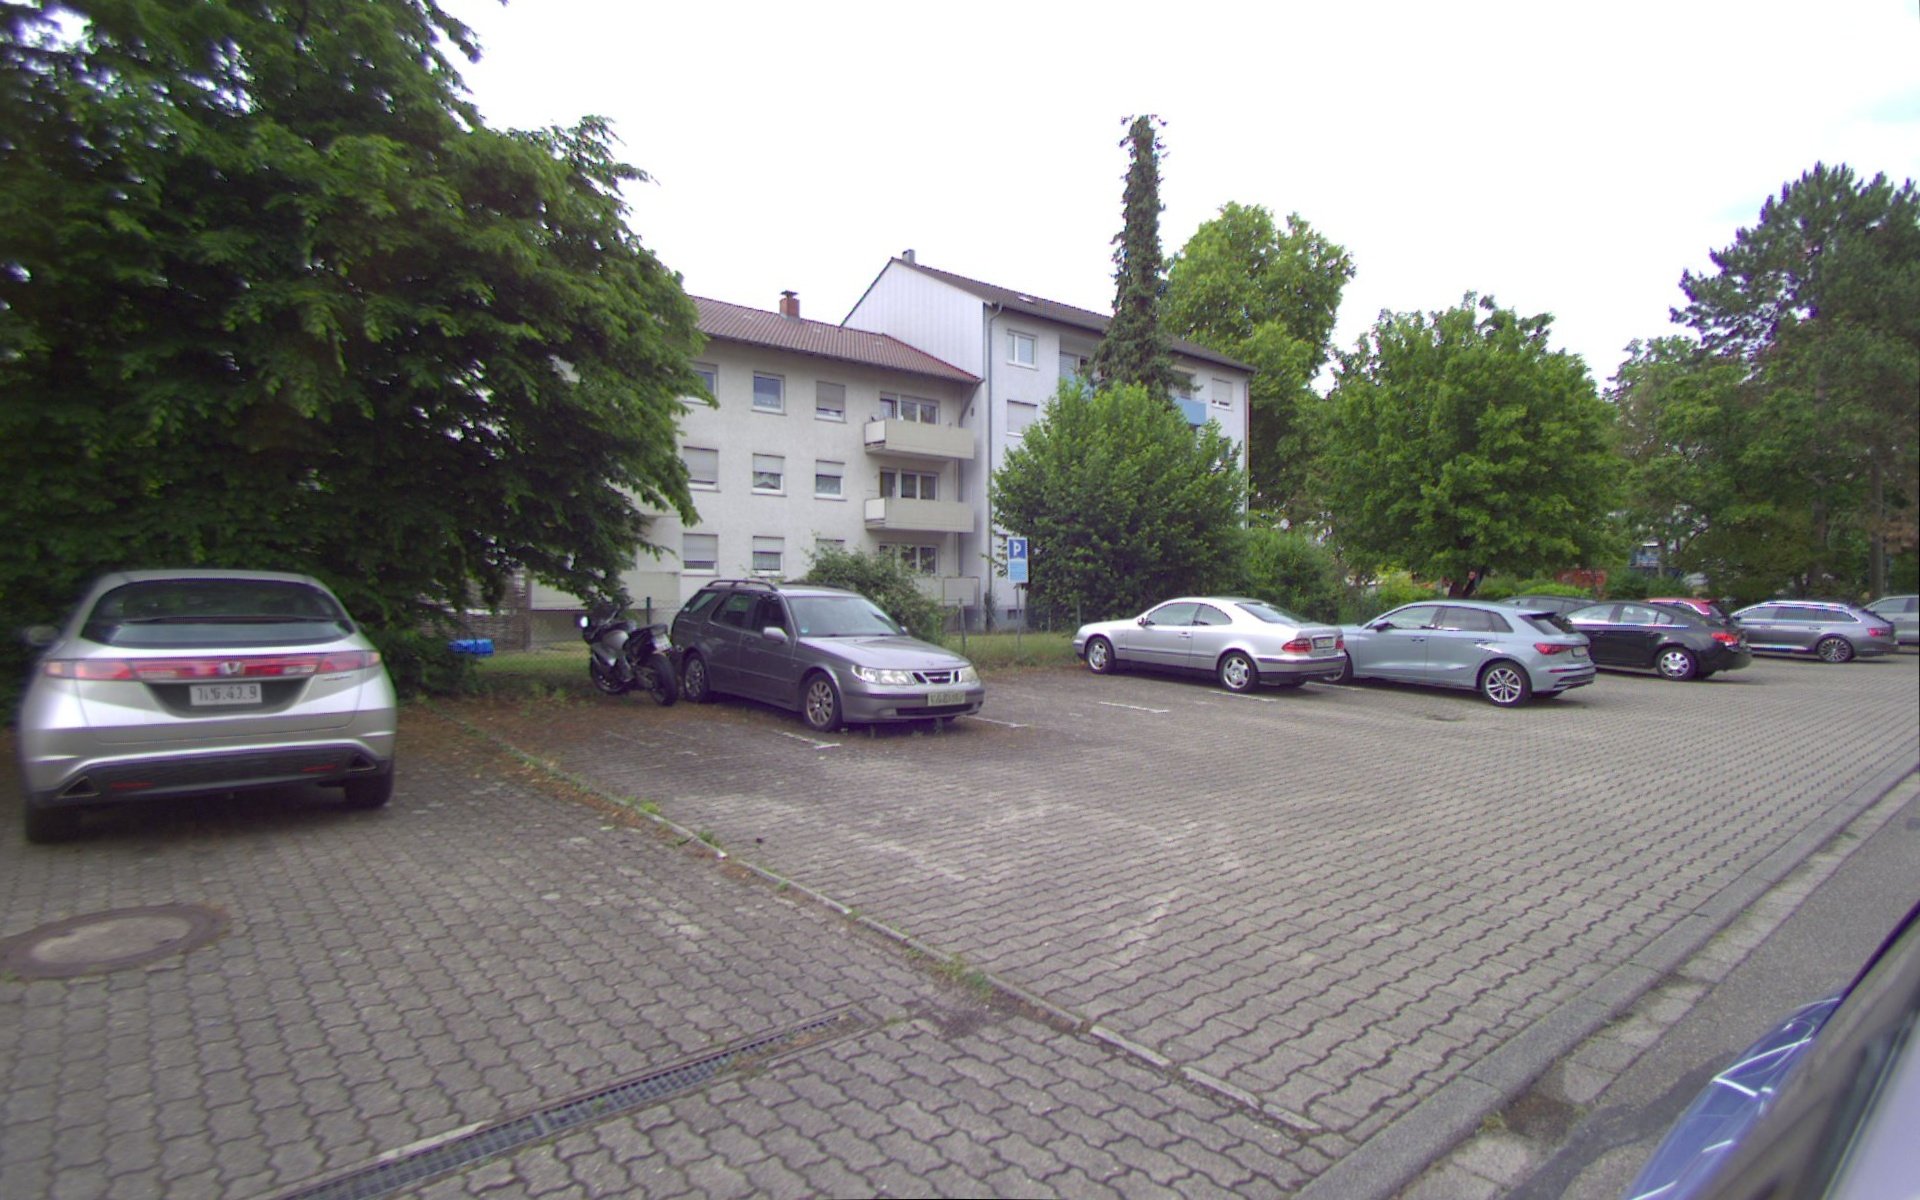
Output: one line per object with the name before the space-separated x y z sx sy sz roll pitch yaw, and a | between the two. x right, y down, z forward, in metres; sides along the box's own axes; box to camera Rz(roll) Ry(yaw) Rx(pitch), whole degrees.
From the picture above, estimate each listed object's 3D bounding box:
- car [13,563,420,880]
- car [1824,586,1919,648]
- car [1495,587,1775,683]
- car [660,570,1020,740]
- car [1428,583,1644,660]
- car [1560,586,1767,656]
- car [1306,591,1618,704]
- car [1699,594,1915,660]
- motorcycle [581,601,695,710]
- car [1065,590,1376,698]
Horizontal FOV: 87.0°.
car | -4.910 0.514 6.710 1.682 1.466 3.835 0 1 -39
car | 26.844 0.480 28.109 1.756 1.666 4.100 0 1 -41
car | 13.426 0.601 20.353 1.756 1.503 4.335 0 3 -40
car | -1.572 0.444 11.578 1.834 1.549 4.582 0 1 -41
car | 13.664 0.446 24.196 1.756 1.503 4.104 0 3 -40
car | 18.415 0.488 26.635 1.756 1.503 4.104 0 3 -40
car | 7.583 0.616 15.569 1.702 1.453 3.971 0 1 -42
car | 21.881 0.631 26.268 1.756 1.503 4.100 0 1 -41
motorcycle | -3.832 0.609 11.973 0.708 1.137 1.613 0 2 -40
car | 3.968 0.576 15.989 1.992 1.402 4.397 0 1 -43
